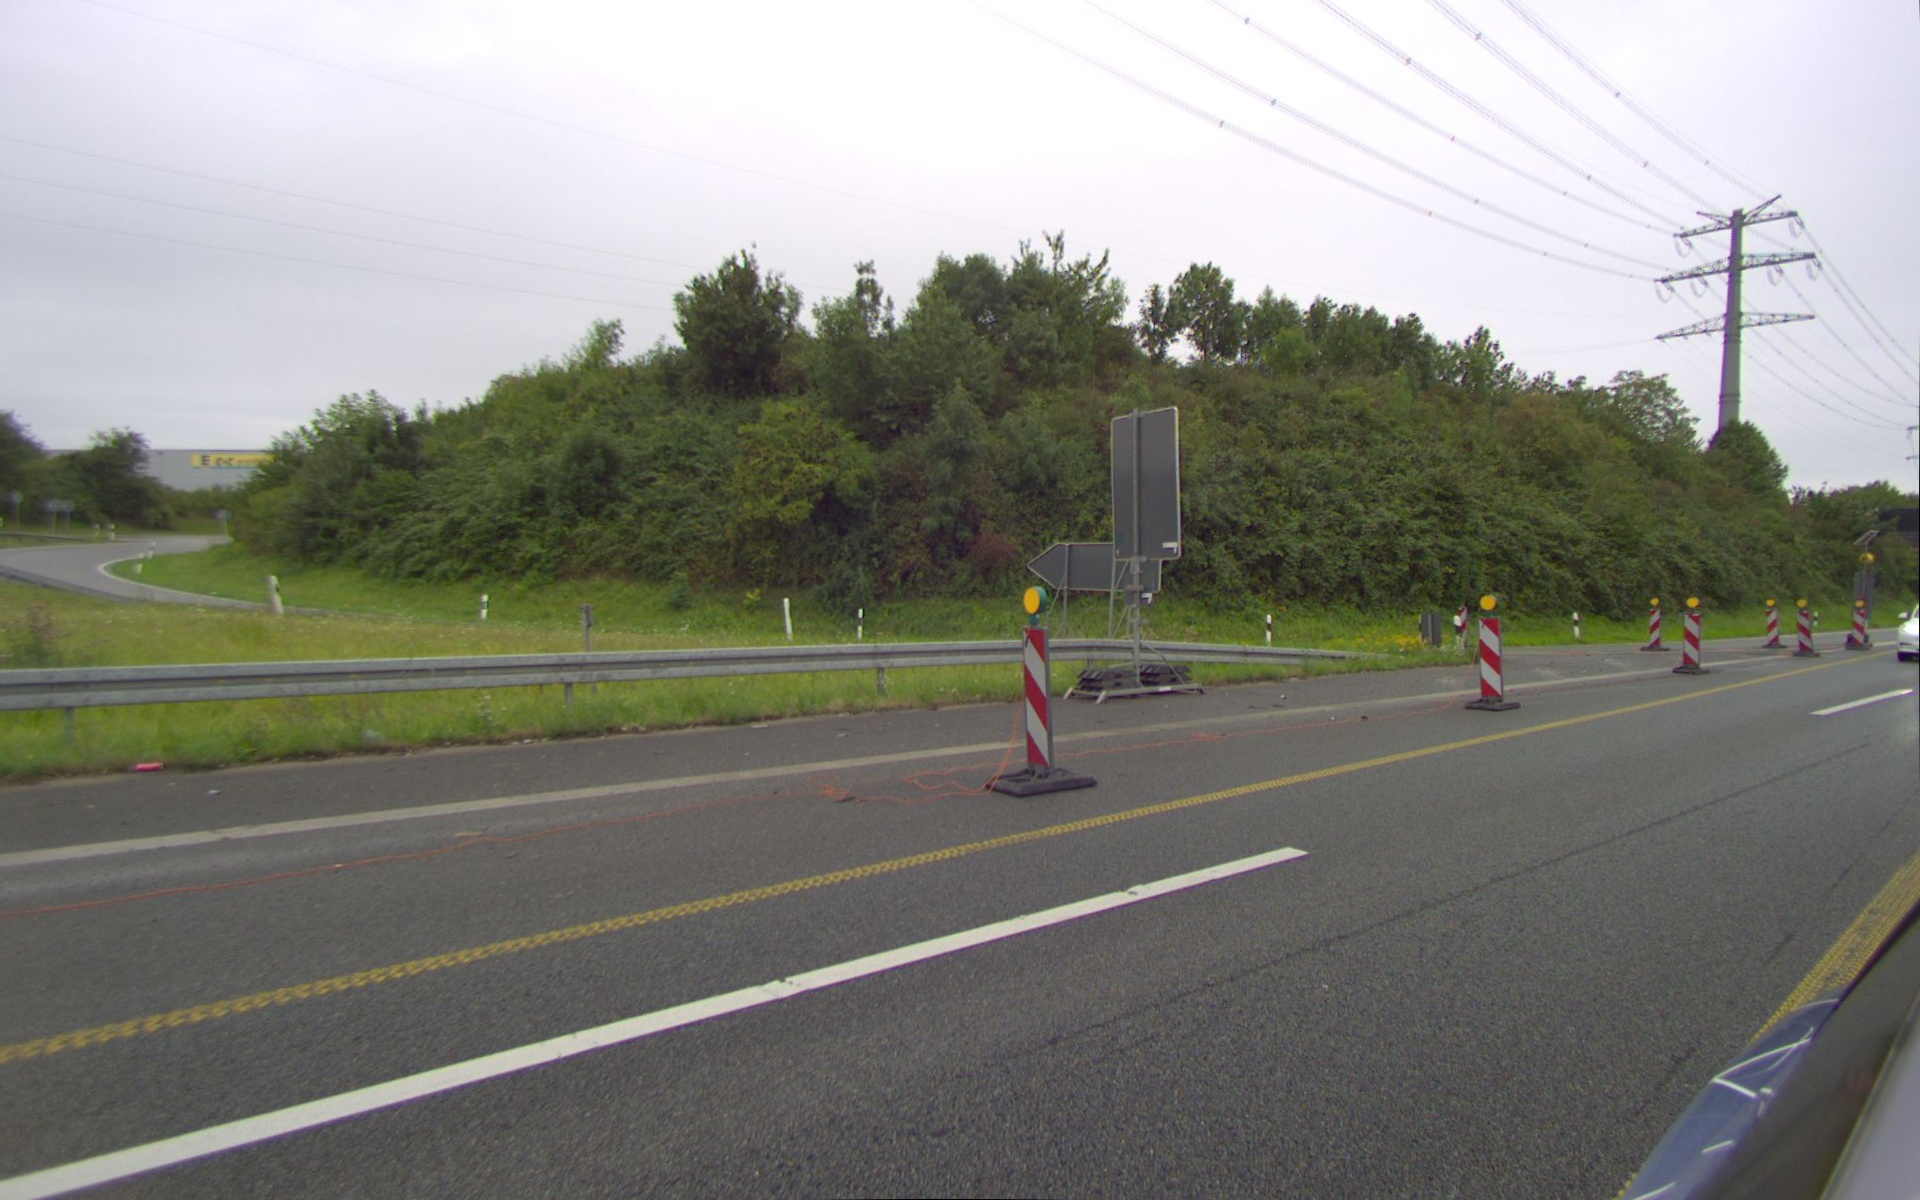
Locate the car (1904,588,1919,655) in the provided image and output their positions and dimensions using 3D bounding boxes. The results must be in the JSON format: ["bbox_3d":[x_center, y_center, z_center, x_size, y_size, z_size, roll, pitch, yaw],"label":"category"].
[{"bbox_3d":[25.631,0.503,25.540,5.700,1.616,2.049,0,0,-41],"label":"car"}]
